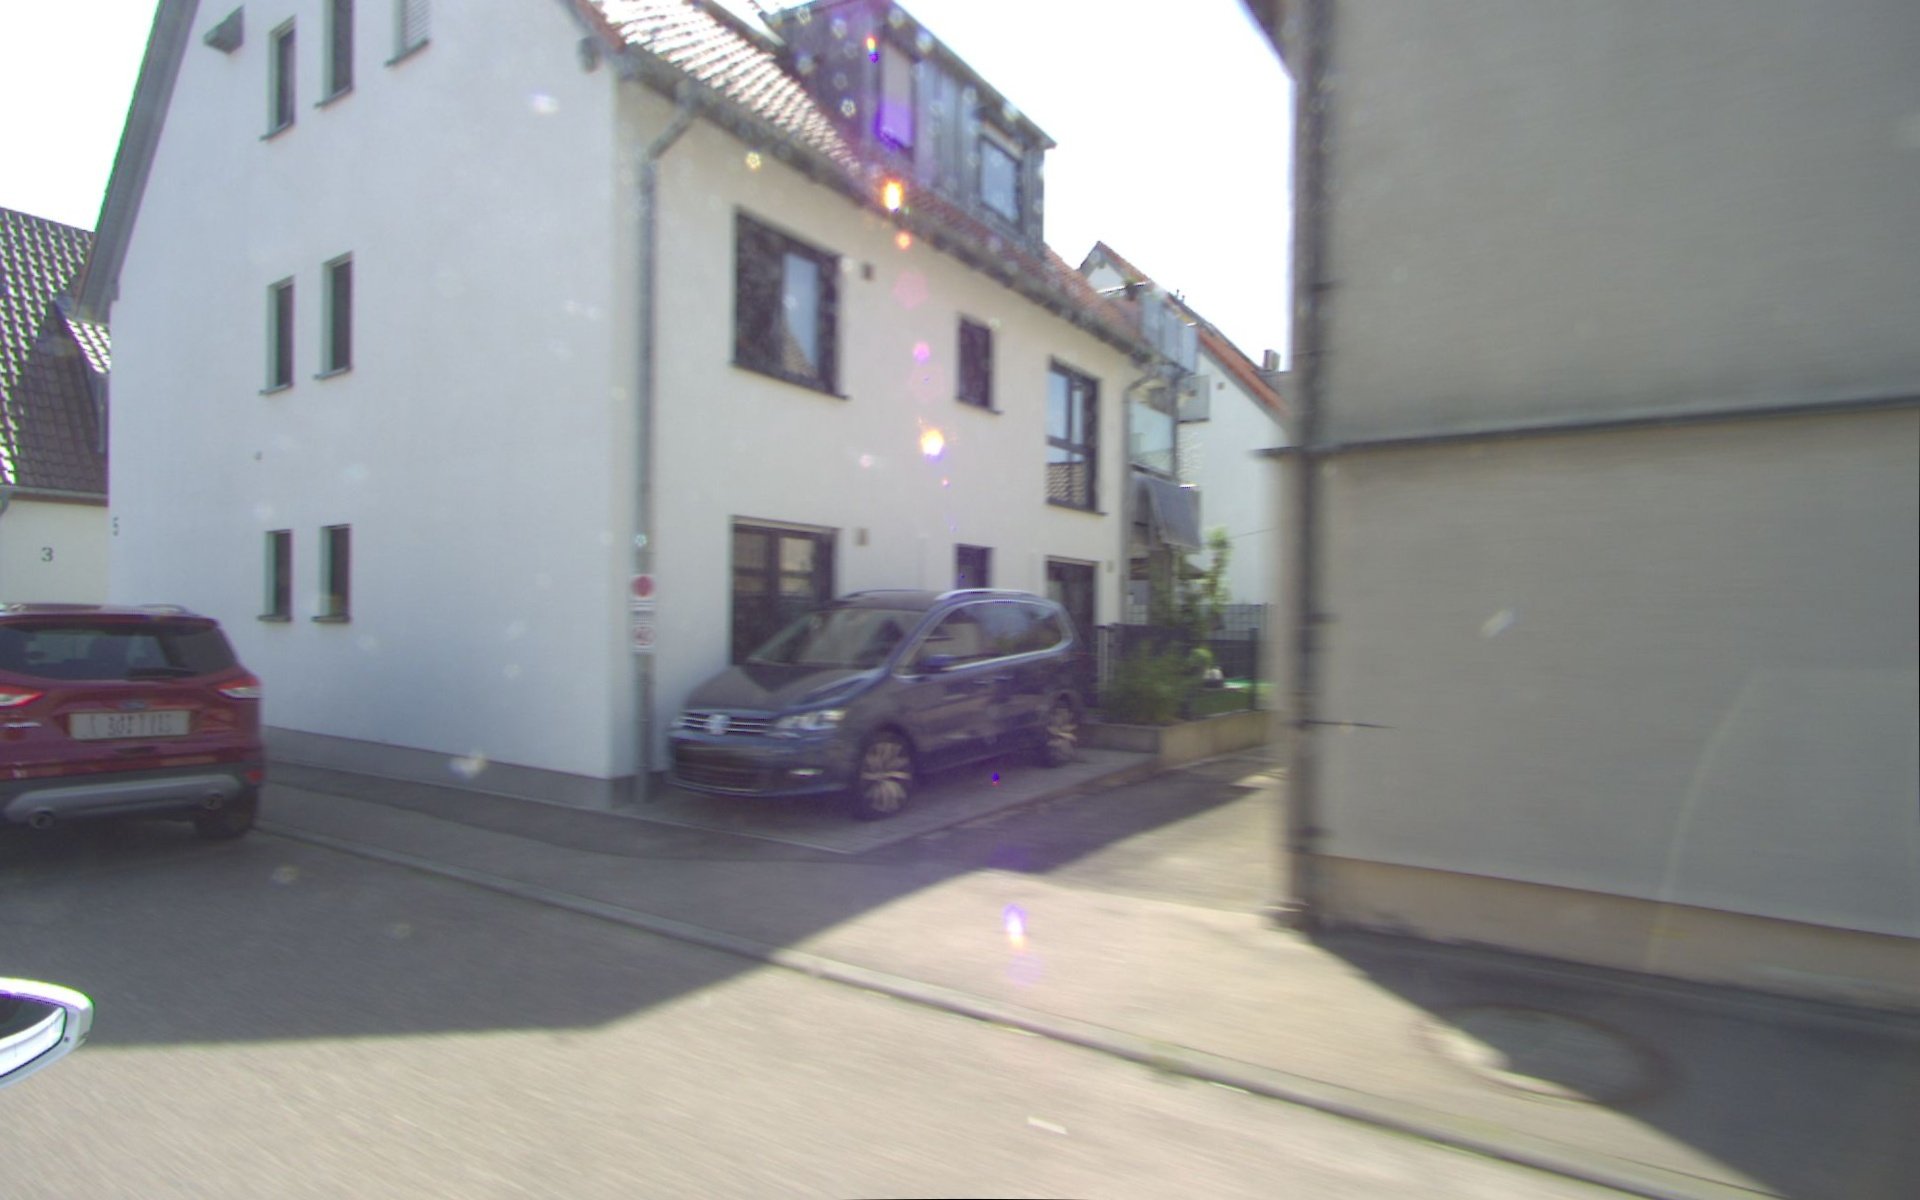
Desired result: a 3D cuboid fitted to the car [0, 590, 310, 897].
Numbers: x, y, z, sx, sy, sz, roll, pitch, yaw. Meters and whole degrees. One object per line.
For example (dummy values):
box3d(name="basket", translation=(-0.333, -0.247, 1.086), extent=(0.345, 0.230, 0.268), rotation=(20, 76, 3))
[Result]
box3d(name="car", translation=(-6.727, 0.856, 7.338), extent=(4.127, 1.722, 1.871), rotation=(-1, -2, 35))

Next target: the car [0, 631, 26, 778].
box3d(name="car", translation=(-11.641, 1.031, 10.562), extent=(4.531, 1.442, 1.758), rotation=(-1, -2, 36))

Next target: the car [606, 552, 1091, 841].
box3d(name="car", translation=(-0.648, 0.694, 8.911), extent=(1.971, 1.866, 4.509), rotation=(0, -2, 31))
